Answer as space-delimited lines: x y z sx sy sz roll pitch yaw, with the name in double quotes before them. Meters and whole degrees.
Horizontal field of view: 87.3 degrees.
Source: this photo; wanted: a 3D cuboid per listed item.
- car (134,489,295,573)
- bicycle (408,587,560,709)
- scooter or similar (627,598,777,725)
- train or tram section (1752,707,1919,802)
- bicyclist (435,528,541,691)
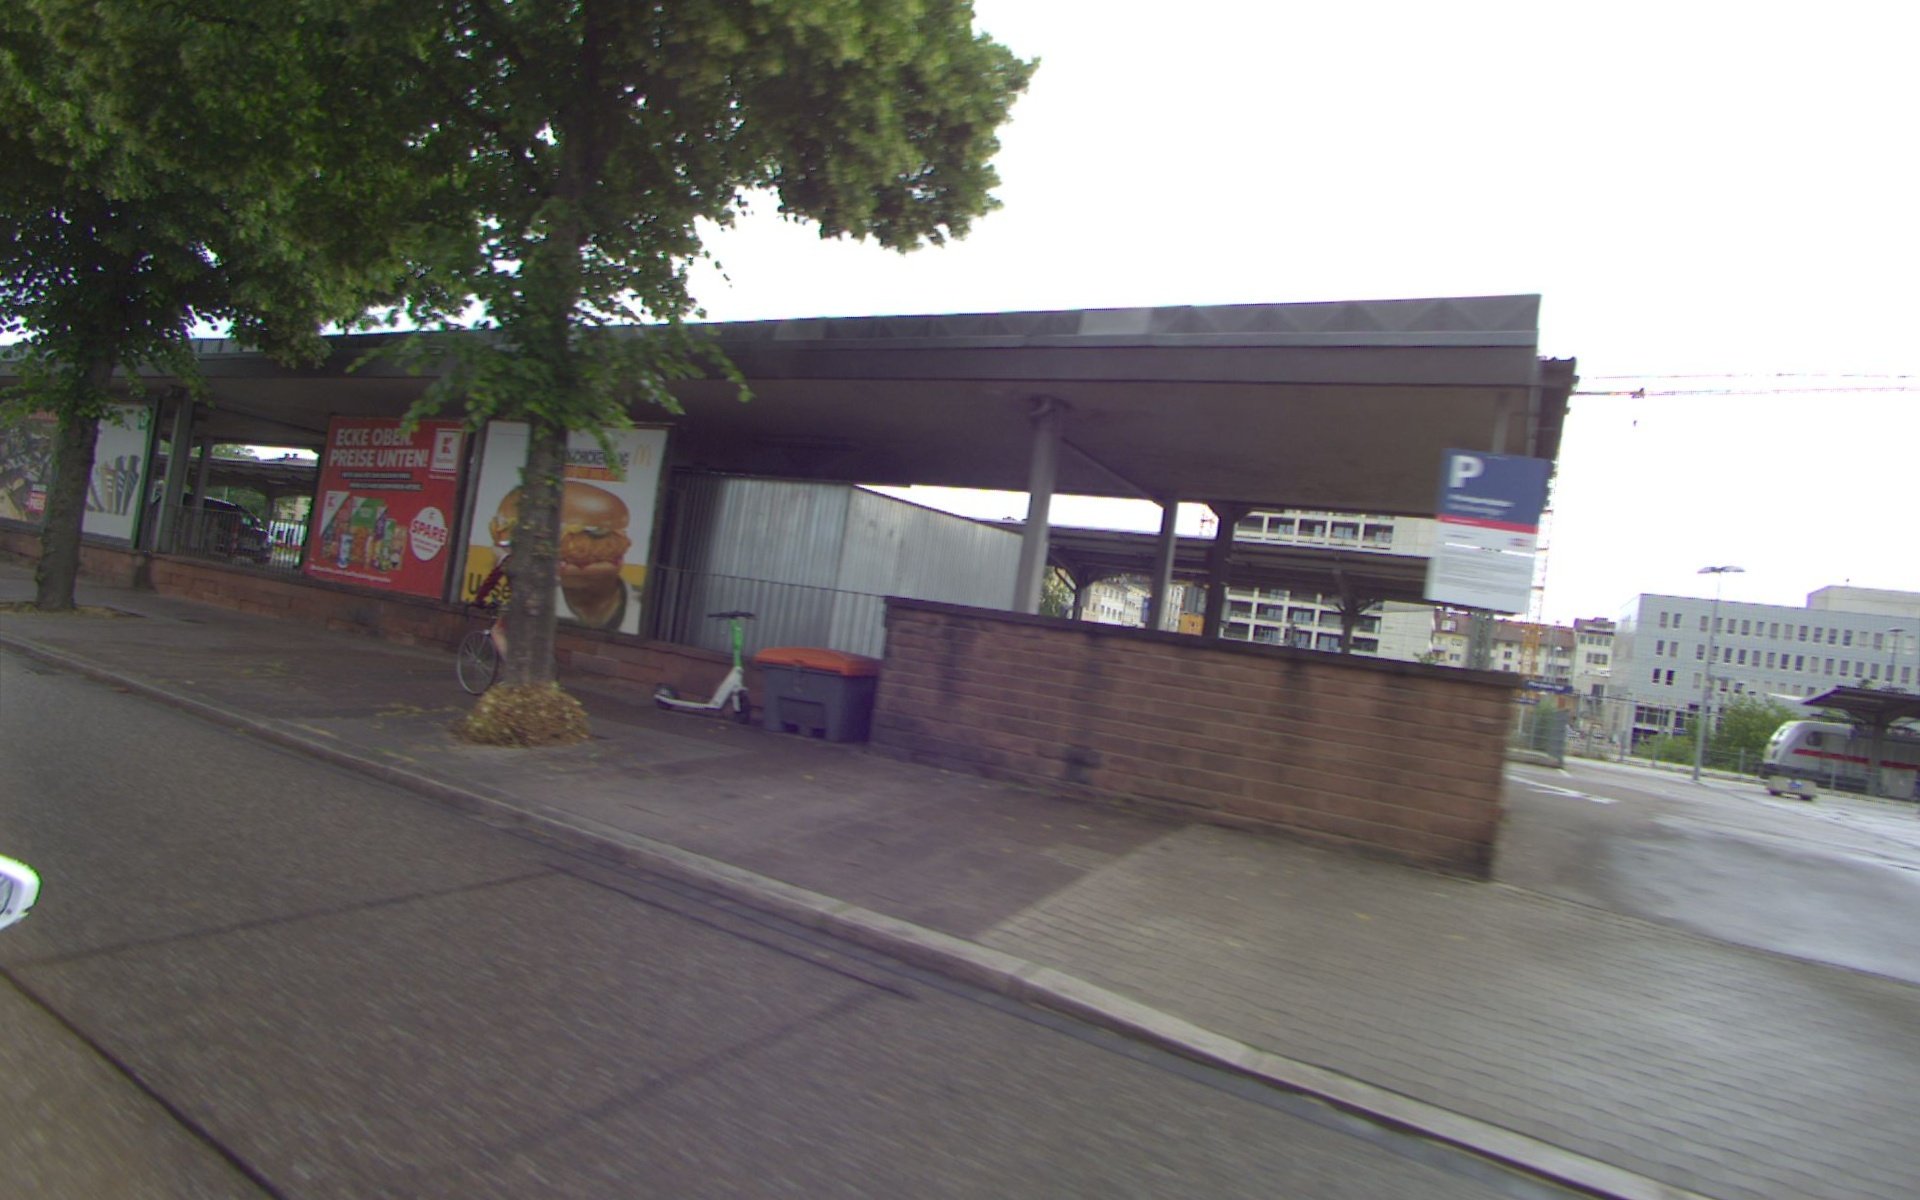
"car" -22.115 -2.062 29.829 4.519 1.893 1.999 6 -2 29
"bicycle" -4.875 0.469 10.266 1.648 1.029 0.447 7 1 28
"scooter or similar" -2.801 0.654 10.888 1.518 1.166 0.494 6 -1 28
"train or tram section" 45.818 7.829 48.997 10.740 3.645 2.747 7 -1 28
"bicyclist" -4.793 0.095 10.228 0.682 1.557 0.534 7 1 28
